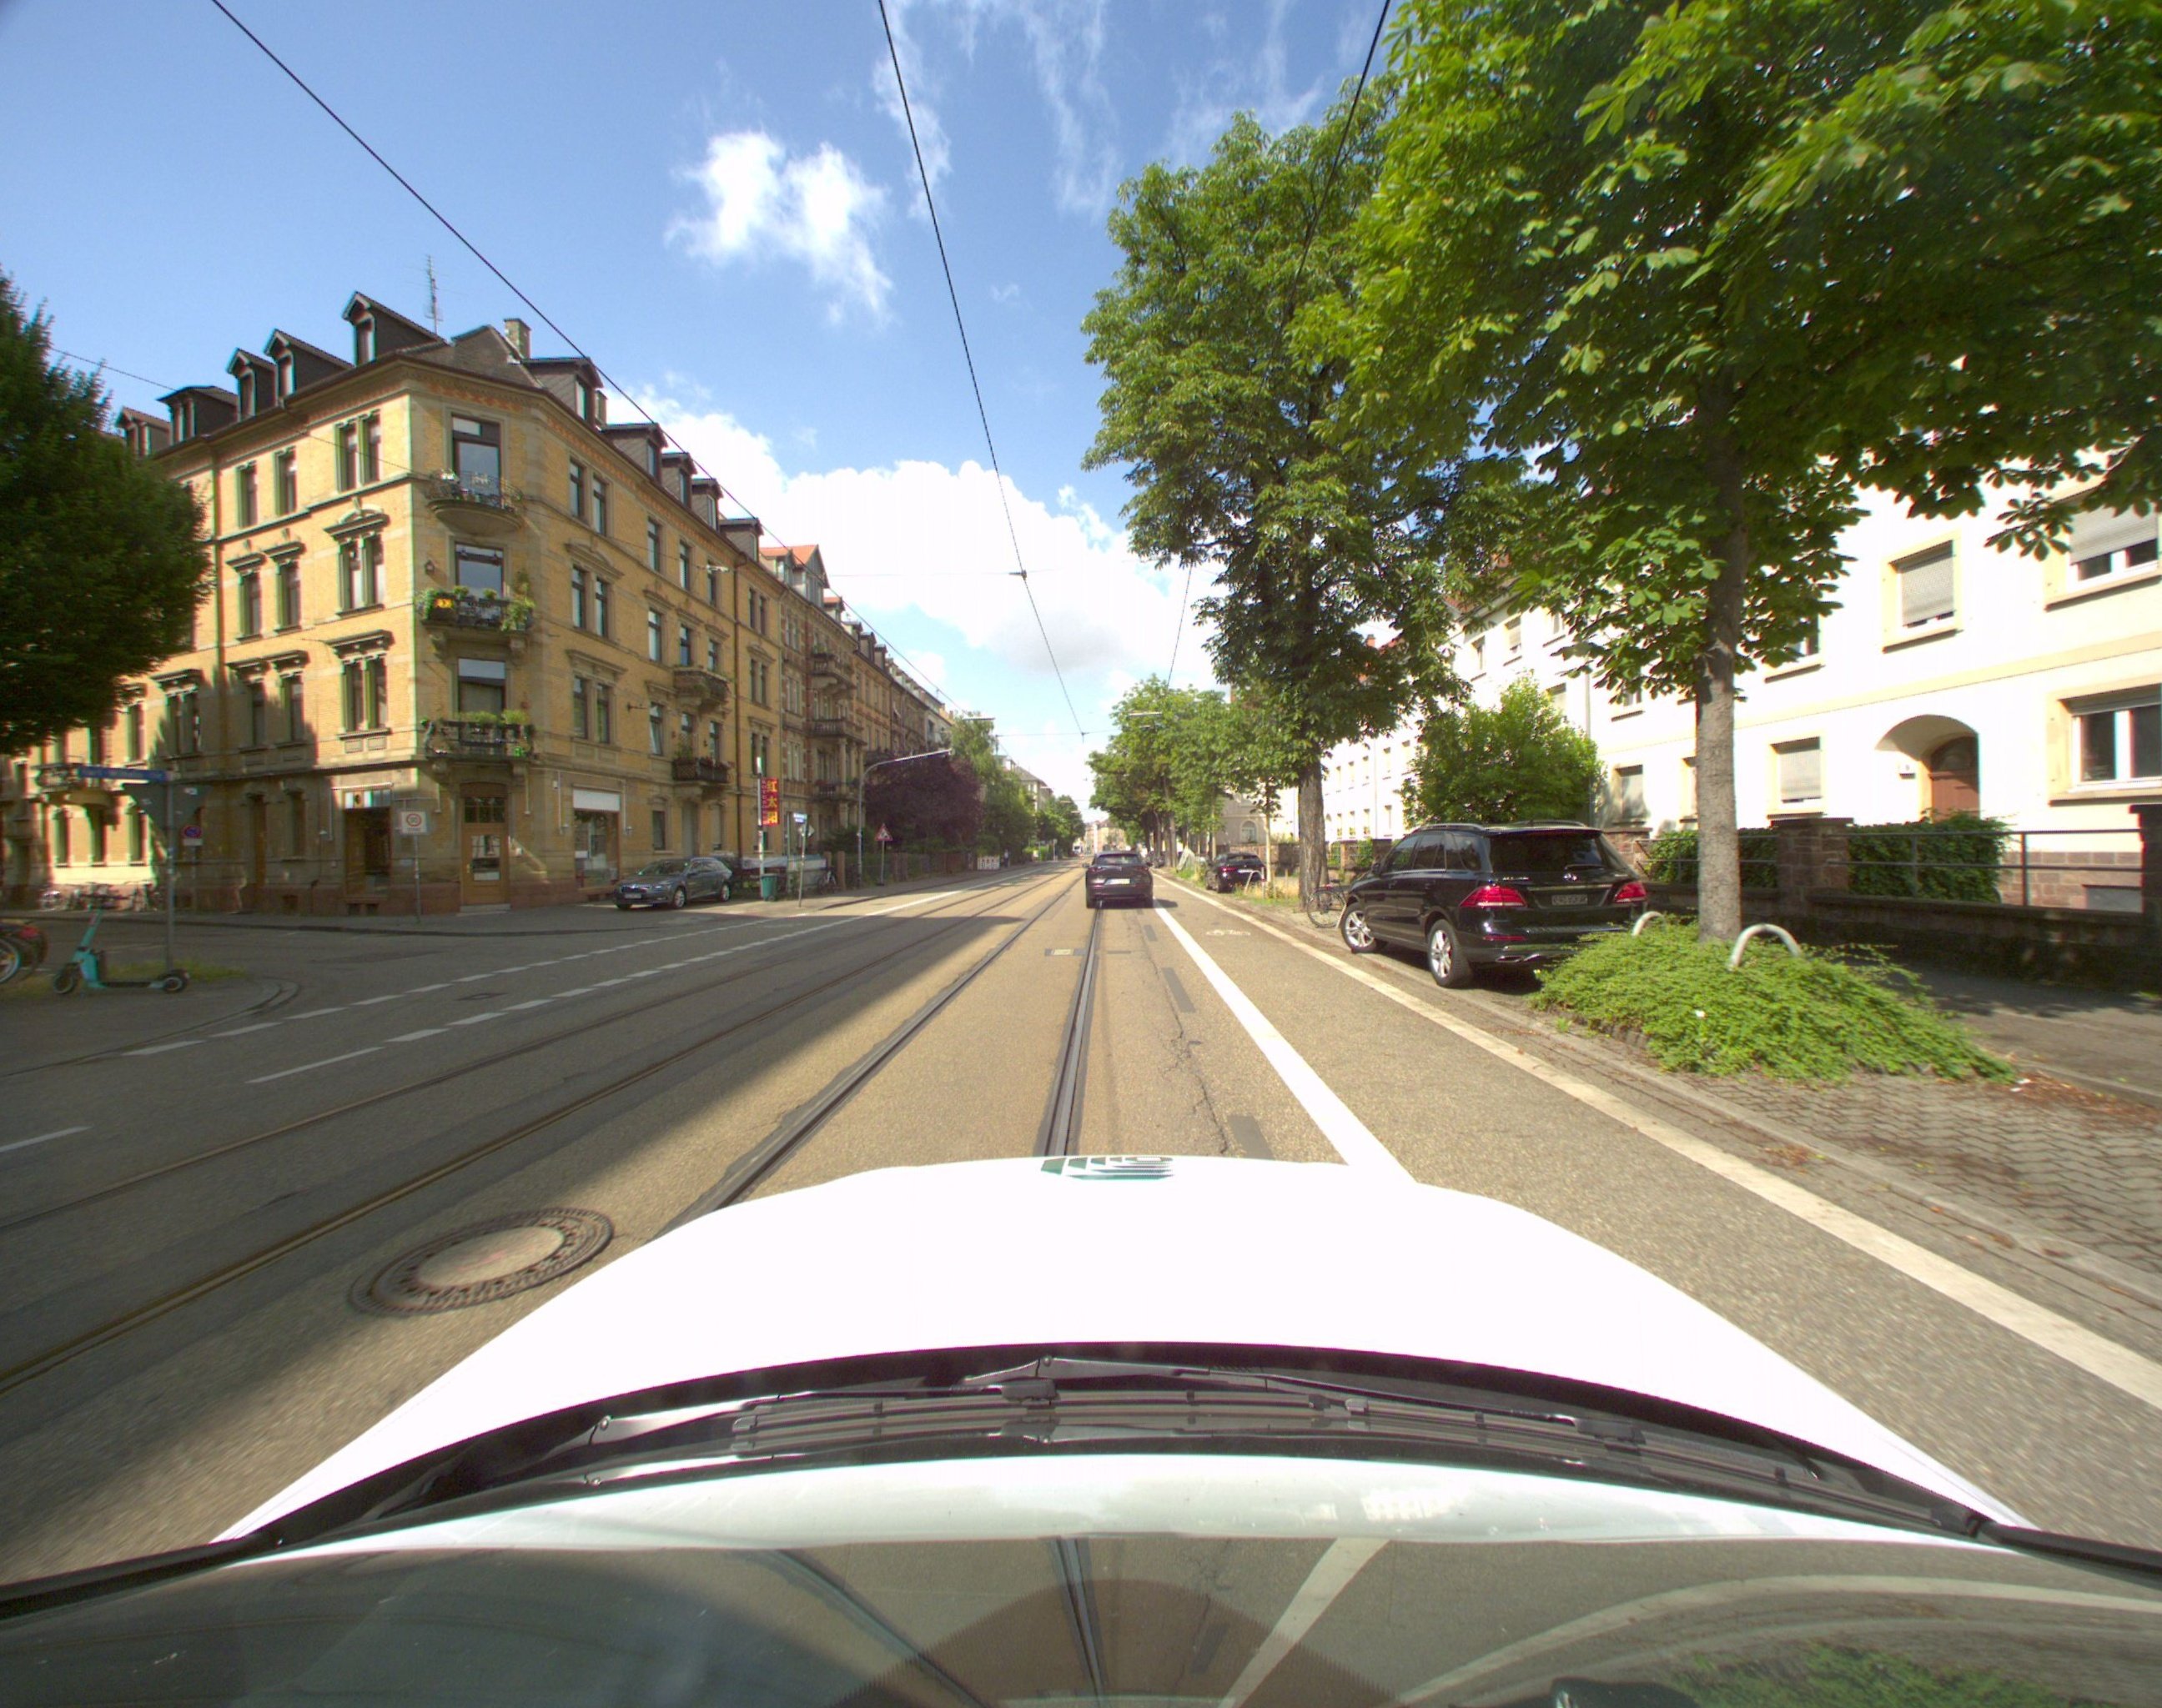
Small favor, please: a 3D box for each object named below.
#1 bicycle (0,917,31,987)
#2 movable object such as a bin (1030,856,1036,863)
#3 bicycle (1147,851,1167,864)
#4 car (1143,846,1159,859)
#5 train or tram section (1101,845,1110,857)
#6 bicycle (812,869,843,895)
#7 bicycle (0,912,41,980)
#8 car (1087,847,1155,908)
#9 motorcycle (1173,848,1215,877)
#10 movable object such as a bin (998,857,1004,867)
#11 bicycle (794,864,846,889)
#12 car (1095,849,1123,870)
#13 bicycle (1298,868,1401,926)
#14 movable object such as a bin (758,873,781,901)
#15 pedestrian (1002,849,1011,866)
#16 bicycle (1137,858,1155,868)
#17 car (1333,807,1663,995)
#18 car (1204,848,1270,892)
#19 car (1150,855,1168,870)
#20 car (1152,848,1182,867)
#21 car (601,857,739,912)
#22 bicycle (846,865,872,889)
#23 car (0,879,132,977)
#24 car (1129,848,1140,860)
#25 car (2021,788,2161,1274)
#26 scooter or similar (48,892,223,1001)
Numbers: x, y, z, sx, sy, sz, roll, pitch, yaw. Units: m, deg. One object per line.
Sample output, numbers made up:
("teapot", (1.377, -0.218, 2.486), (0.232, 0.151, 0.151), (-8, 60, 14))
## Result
("bicycle", (-13.772, 1.241, 9.541), (0.519, 0.837, 1.705), (-1, 1, 15))
("movable object such as a bin", (-6.795, 0.828, 116.251), (0.742, 0.988, 1.114), (1, 0, 2))
("bicycle", (7.582, 0.321, 81.087), (1.923, 1.176, 0.515), (-3, -1, 13))
("car", (10.946, -0.282, 127.394), (1.783, 1.938, 4.984), (-1, 0, -4))
("train or tram section", (7.736, -0.883, 257.846), (2.563, 3.772, 13.023), (-1, 0, 0))
("bicycle", (-9.849, 1.065, 31.682), (0.528, 0.946, 1.969), (-2, 0, 2))
("bicycle", (-14.291, 1.219, 10.054), (0.519, 0.837, 1.705), (-1, 1, 15))
("car", (1.075, 0.594, 22.583), (1.714, 1.526, 3.591), (-1, 0, 2))
("motorcycle", (6.292, 0.455, 45.490), (2.357, 1.597, 0.683), (1, 1, 40))
("movable object such as a bin", (-8.803, 0.834, 89.484), (0.535, 1.094, 0.791), (-1, 0, 7))
("bicycle", (-10.850, 0.933, 33.904), (1.957, 0.946, 0.531), (-2, 0, -3))
("car", (2.038, 0.389, 60.489), (1.986, 1.529, 4.001), (1, 0, 2))
("bicycle", (5.026, 0.791, 15.309), (1.701, 1.007, 0.638), (-2, 0, 2))
("movable object such as a bin", (-10.531, 1.107, 27.539), (0.523, 0.906, 0.636), (-2, 0, 0))
("pedestrian", (-7.303, 0.331, 79.652), (0.820, 1.706, 0.891), (-1, 0, -1))
("bicycle", (7.213, 1.046, 90.211), (1.896, 1.072, 0.402), (-1, 0, 2))
("car", (4.781, 0.437, 10.277), (1.820, 1.782, 4.735), (-2, 0, 2))
("car", (5.619, 0.553, 29.735), (1.700, 1.479, 4.198), (1, 0, 2))
("car", (8.185, 0.875, 85.637), (1.659, 1.430, 3.768), (-3, 0, 2))
("car", (7.141, 0.267, 68.028), (1.841, 1.409, 4.392), (-3, 0, -1))
("car", (-12.554, 0.857, 25.273), (1.679, 1.459, 4.767), (-2, 0, 2))
("bicycle", (-9.718, 0.993, 35.768), (0.528, 0.946, 1.969), (-2, 0, 2))
("car", (-16.675, 1.133, 11.469), (1.625, 1.360, 3.947), (-1, 0, 21))
("car", (9.450, 0.030, 144.044), (1.714, 1.968, 4.210), (-1, 0, 3))
("car", (4.535, 0.590, 0.836), (1.856, 1.653, 4.639), (-1, 0, 1))
("scooter or similar", (-11.753, 1.121, 10.164), (1.369, 1.235, 0.400), (0, 0, -27))
